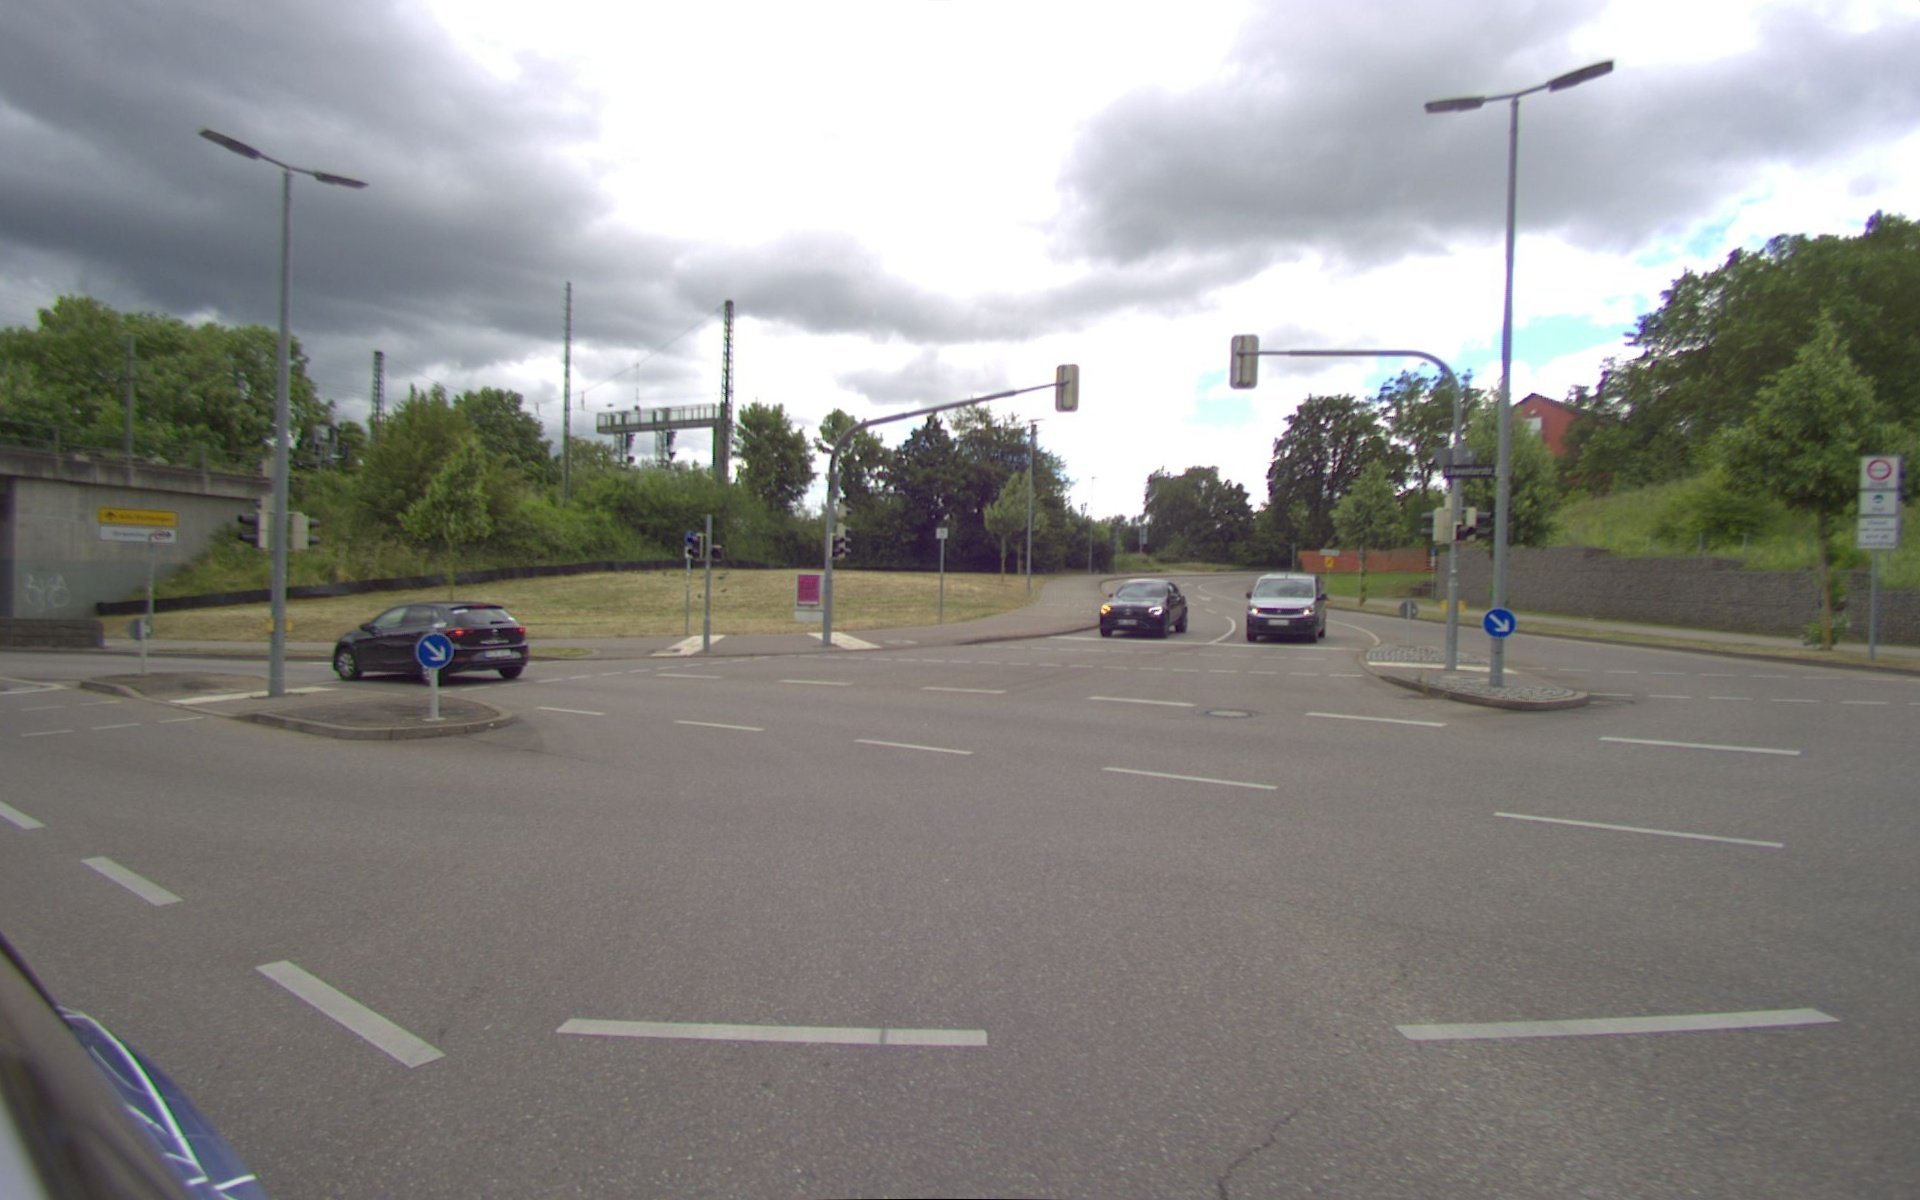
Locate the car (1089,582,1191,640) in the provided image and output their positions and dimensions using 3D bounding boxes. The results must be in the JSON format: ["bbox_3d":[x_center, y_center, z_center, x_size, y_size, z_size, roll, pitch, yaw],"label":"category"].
[{"bbox_3d":[5.321,0.270,29.481,2.097,1.563,4.231,-1,1,22],"label":"car"}]

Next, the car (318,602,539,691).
[{"bbox_3d":[-9.822,0.821,18.648,4.052,1.466,1.742,-2,0,31],"label":"car"}]

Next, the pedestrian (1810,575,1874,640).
[{"bbox_3d":[21.643,0.172,24.857,0.791,1.569,0.900,-1,0,5],"label":"pedestrian"}]

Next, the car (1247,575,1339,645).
[{"bbox_3d":[9.074,0.229,27.391,1.751,1.741,4.224,0,1,27],"label":"car"}]
